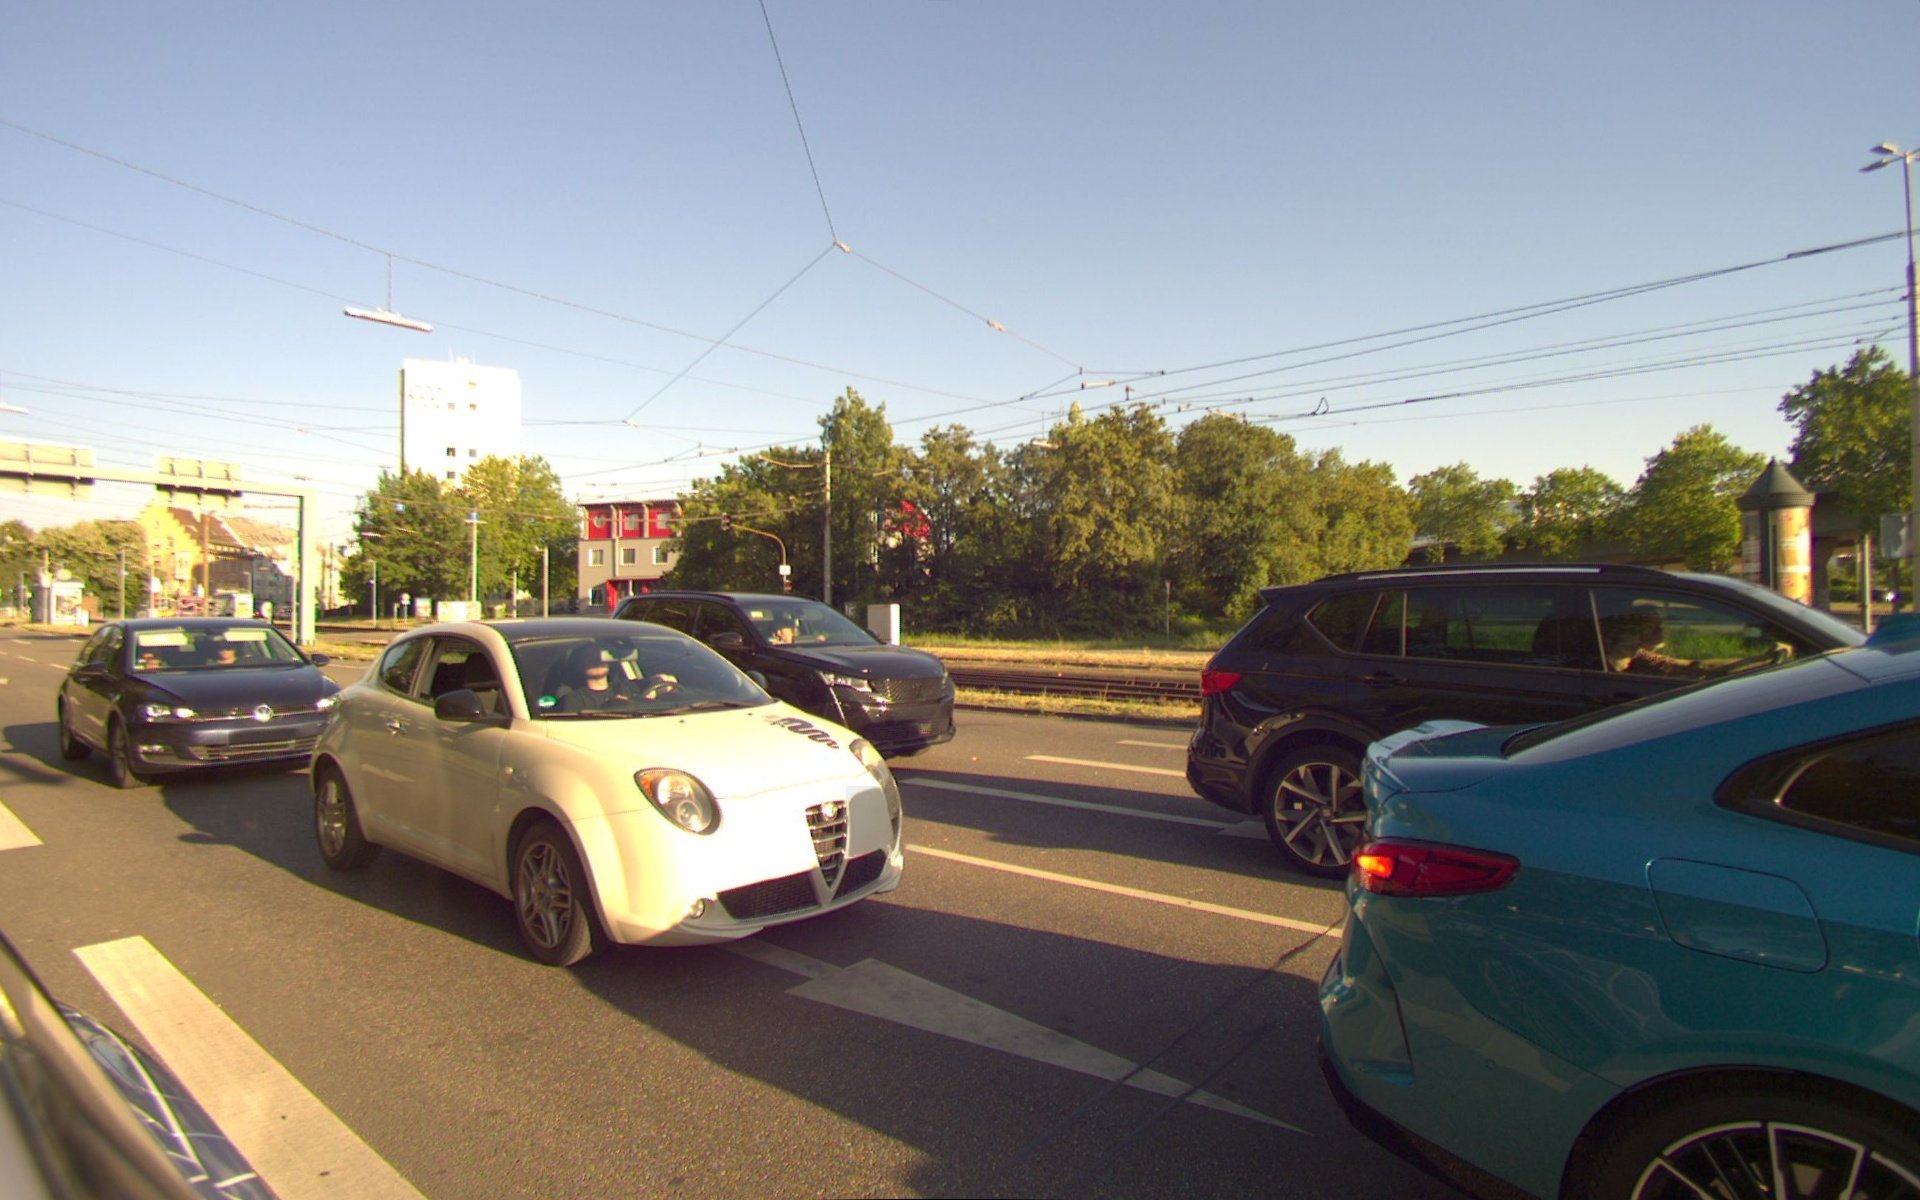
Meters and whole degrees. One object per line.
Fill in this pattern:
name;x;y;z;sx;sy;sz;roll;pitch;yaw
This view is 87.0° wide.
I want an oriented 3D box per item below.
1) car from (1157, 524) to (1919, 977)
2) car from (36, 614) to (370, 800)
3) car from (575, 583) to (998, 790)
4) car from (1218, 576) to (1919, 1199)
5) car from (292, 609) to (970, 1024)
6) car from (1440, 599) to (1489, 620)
car;3.504;0.579;5.103;4.598;1.694;1.896;-1;-1;40
car;-7.460;0.868;9.847;3.921;1.441;1.759;-1;-1;40
car;-1.966;0.726;10.377;4.601;1.661;1.894;-1;-1;43
car;2.869;0.667;1.492;4.507;1.428;1.767;-1;-1;39
car;-1.976;0.784;5.429;3.921;1.441;1.644;-1;-1;40
car;38.488;0.737;77.298;1.975;1.497;3.994;-1;-1;5
